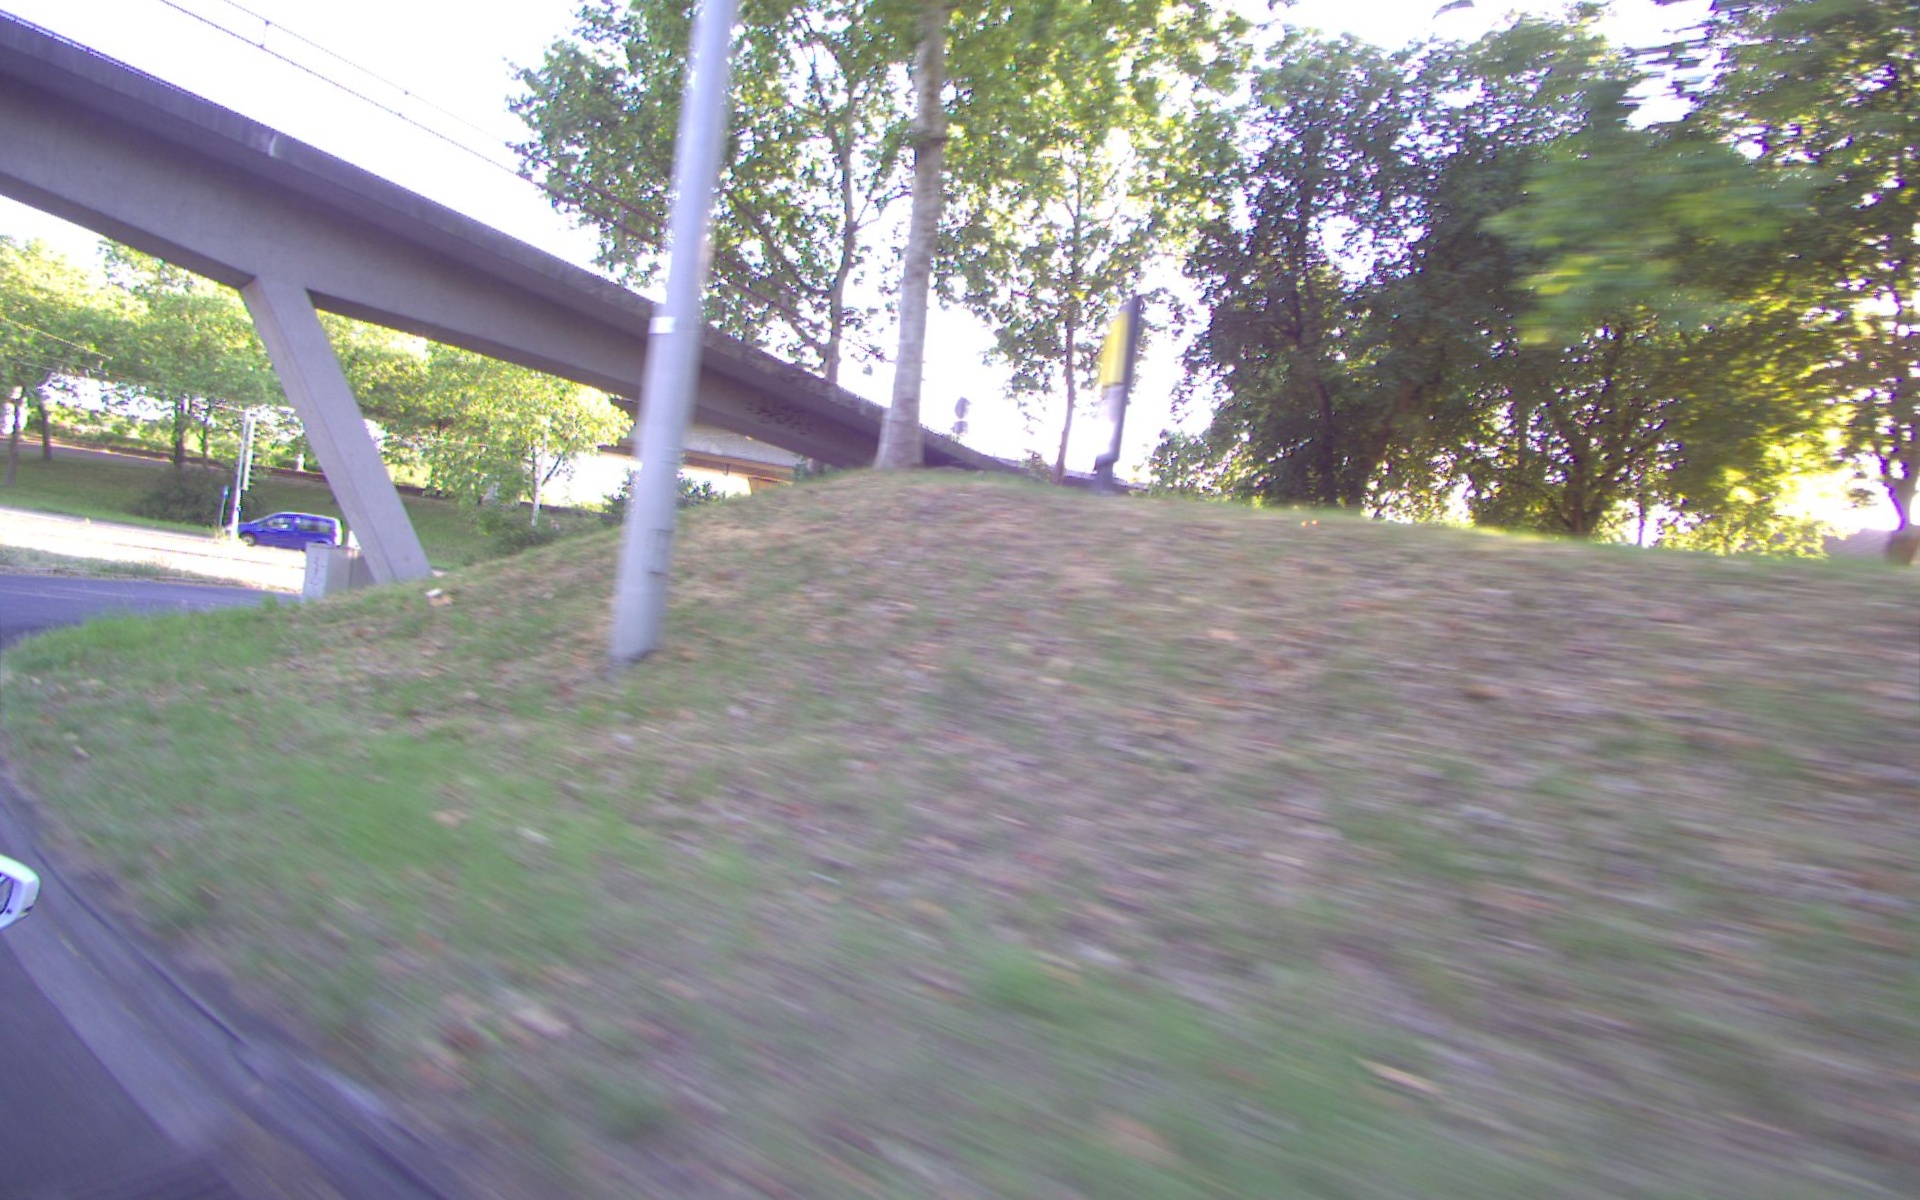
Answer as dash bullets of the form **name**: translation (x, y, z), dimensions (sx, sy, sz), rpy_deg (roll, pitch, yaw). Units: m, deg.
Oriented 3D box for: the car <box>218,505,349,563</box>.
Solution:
- **car**: translation (-29.806, -2.894, 44.395), dimensions (4.487, 1.712, 1.977), rpy_deg (9, -1, -40)
